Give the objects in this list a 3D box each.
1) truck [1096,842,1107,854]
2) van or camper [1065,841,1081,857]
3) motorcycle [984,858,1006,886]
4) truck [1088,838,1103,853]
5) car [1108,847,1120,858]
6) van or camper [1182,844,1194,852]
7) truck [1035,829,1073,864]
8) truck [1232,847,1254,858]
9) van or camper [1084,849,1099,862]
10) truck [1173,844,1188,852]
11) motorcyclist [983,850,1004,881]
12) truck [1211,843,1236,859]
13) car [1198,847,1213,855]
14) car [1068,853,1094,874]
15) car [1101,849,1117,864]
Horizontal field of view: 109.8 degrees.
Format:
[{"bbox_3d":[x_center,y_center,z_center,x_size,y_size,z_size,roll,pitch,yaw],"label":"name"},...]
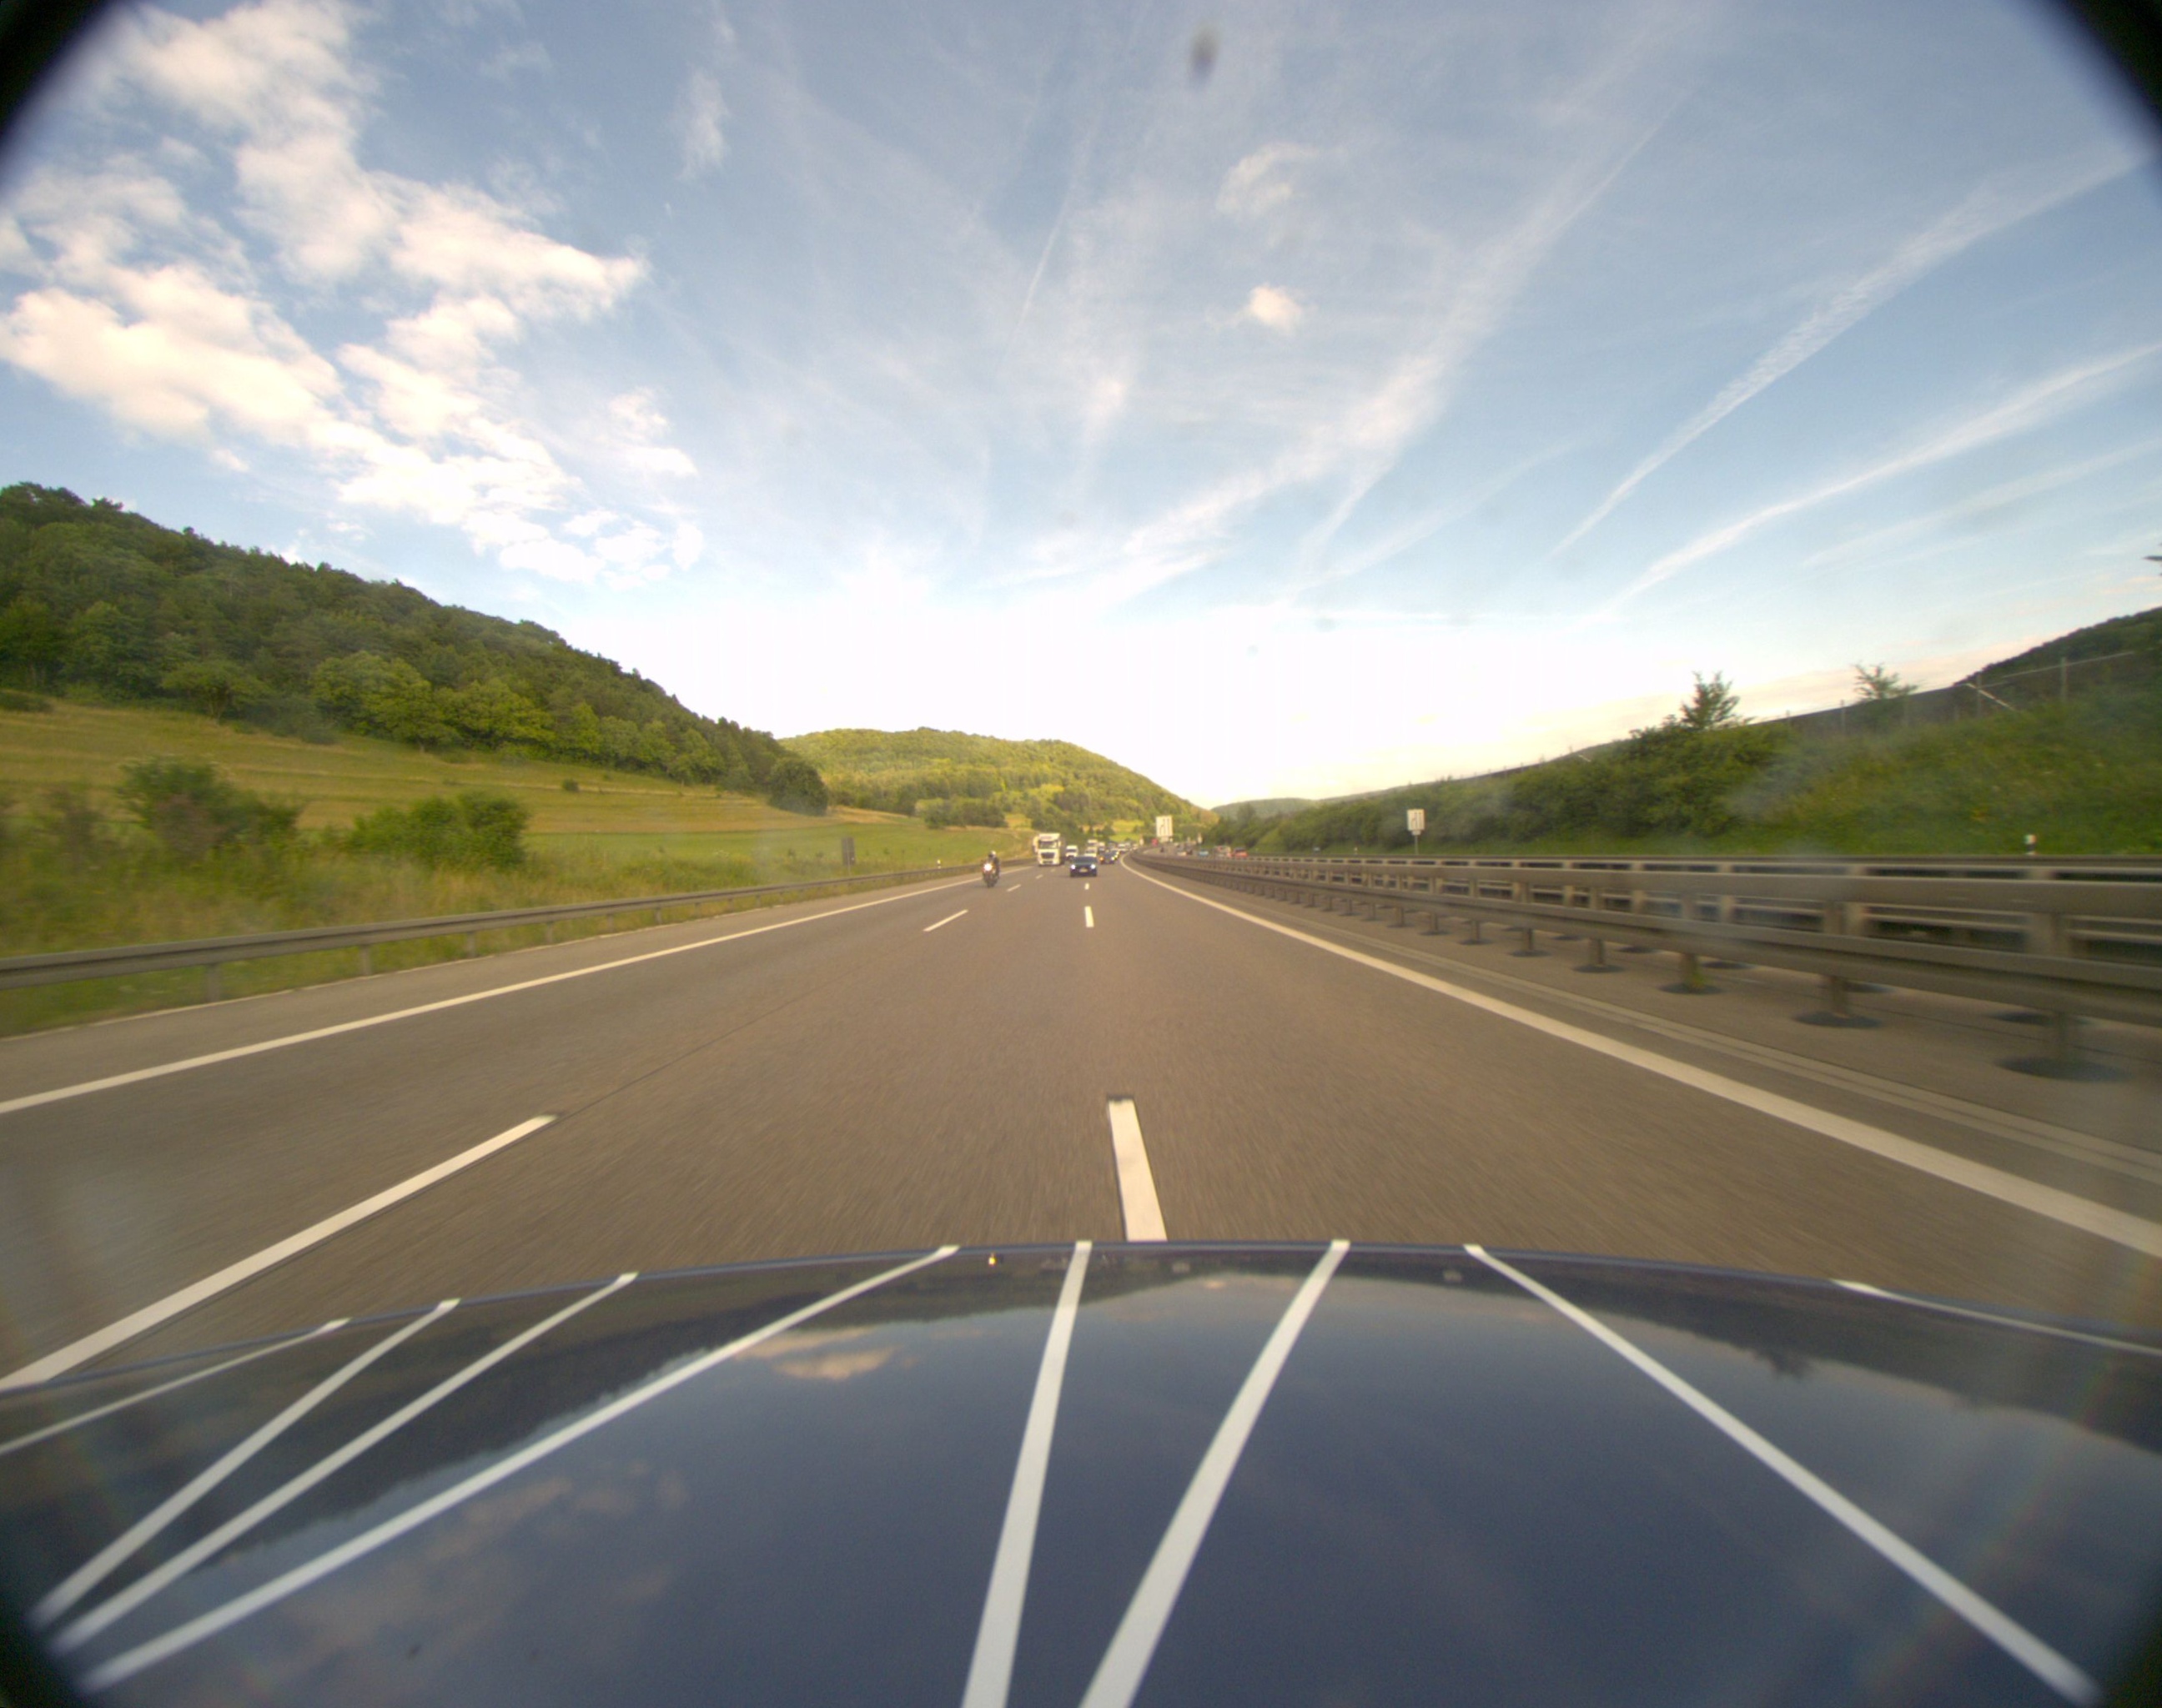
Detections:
[{"bbox_3d":[6.477,-1.921,238.622,2.707,3.627,9.035,-1,1,5],"label":"truck"},{"bbox_3d":[-1.351,-0.849,133.760,1.998,2.702,7.524,-1,1,5],"label":"van or camper"},{"bbox_3d":[-4.373,0.904,38.584,0.628,1.331,1.740,-1,1,9],"label":"motorcycle"},{"bbox_3d":[3.837,-2.279,203.904,2.924,3.876,13.012,-1,1,5],"label":"truck"},{"bbox_3d":[5.558,-0.241,126.832,1.998,1.871,4.000,0,0,3],"label":"car"},{"bbox_3d":[23.091,-1.288,164.346,1.998,1.650,5.453,0,0,0],"label":"van or camper"},{"bbox_3d":[-3.308,-1.013,97.875,2.971,3.969,17.733,-1,1,4],"label":"truck"},{"bbox_3d":[20.245,-0.145,95.271,1.998,1.345,3.946,0,0,1],"label":"truck"},{"bbox_3d":[1.655,0.155,117.593,1.998,1.881,4.487,-2,1,3],"label":"van or camper"},{"bbox_3d":[15.682,-0.899,120.192,1.998,1.215,4.000,0,0,1],"label":"truck"},{"bbox_3d":[-4.412,0.583,38.430,0.878,1.506,0.797,-2,2,4],"label":"motorcyclist"},{"bbox_3d":[14.547,-0.310,77.848,1.998,1.585,4.847,0,0,4],"label":"truck"},{"bbox_3d":[21.223,-0.533,129.630,1.998,1.345,4.355,0,0,1],"label":"car"},{"bbox_3d":[0.039,0.630,51.971,1.580,1.310,4.000,-2,1,2],"label":"car"},{"bbox_3d":[3.587,0.262,96.919,1.998,1.871,4.000,0,0,3],"label":"car"}]
